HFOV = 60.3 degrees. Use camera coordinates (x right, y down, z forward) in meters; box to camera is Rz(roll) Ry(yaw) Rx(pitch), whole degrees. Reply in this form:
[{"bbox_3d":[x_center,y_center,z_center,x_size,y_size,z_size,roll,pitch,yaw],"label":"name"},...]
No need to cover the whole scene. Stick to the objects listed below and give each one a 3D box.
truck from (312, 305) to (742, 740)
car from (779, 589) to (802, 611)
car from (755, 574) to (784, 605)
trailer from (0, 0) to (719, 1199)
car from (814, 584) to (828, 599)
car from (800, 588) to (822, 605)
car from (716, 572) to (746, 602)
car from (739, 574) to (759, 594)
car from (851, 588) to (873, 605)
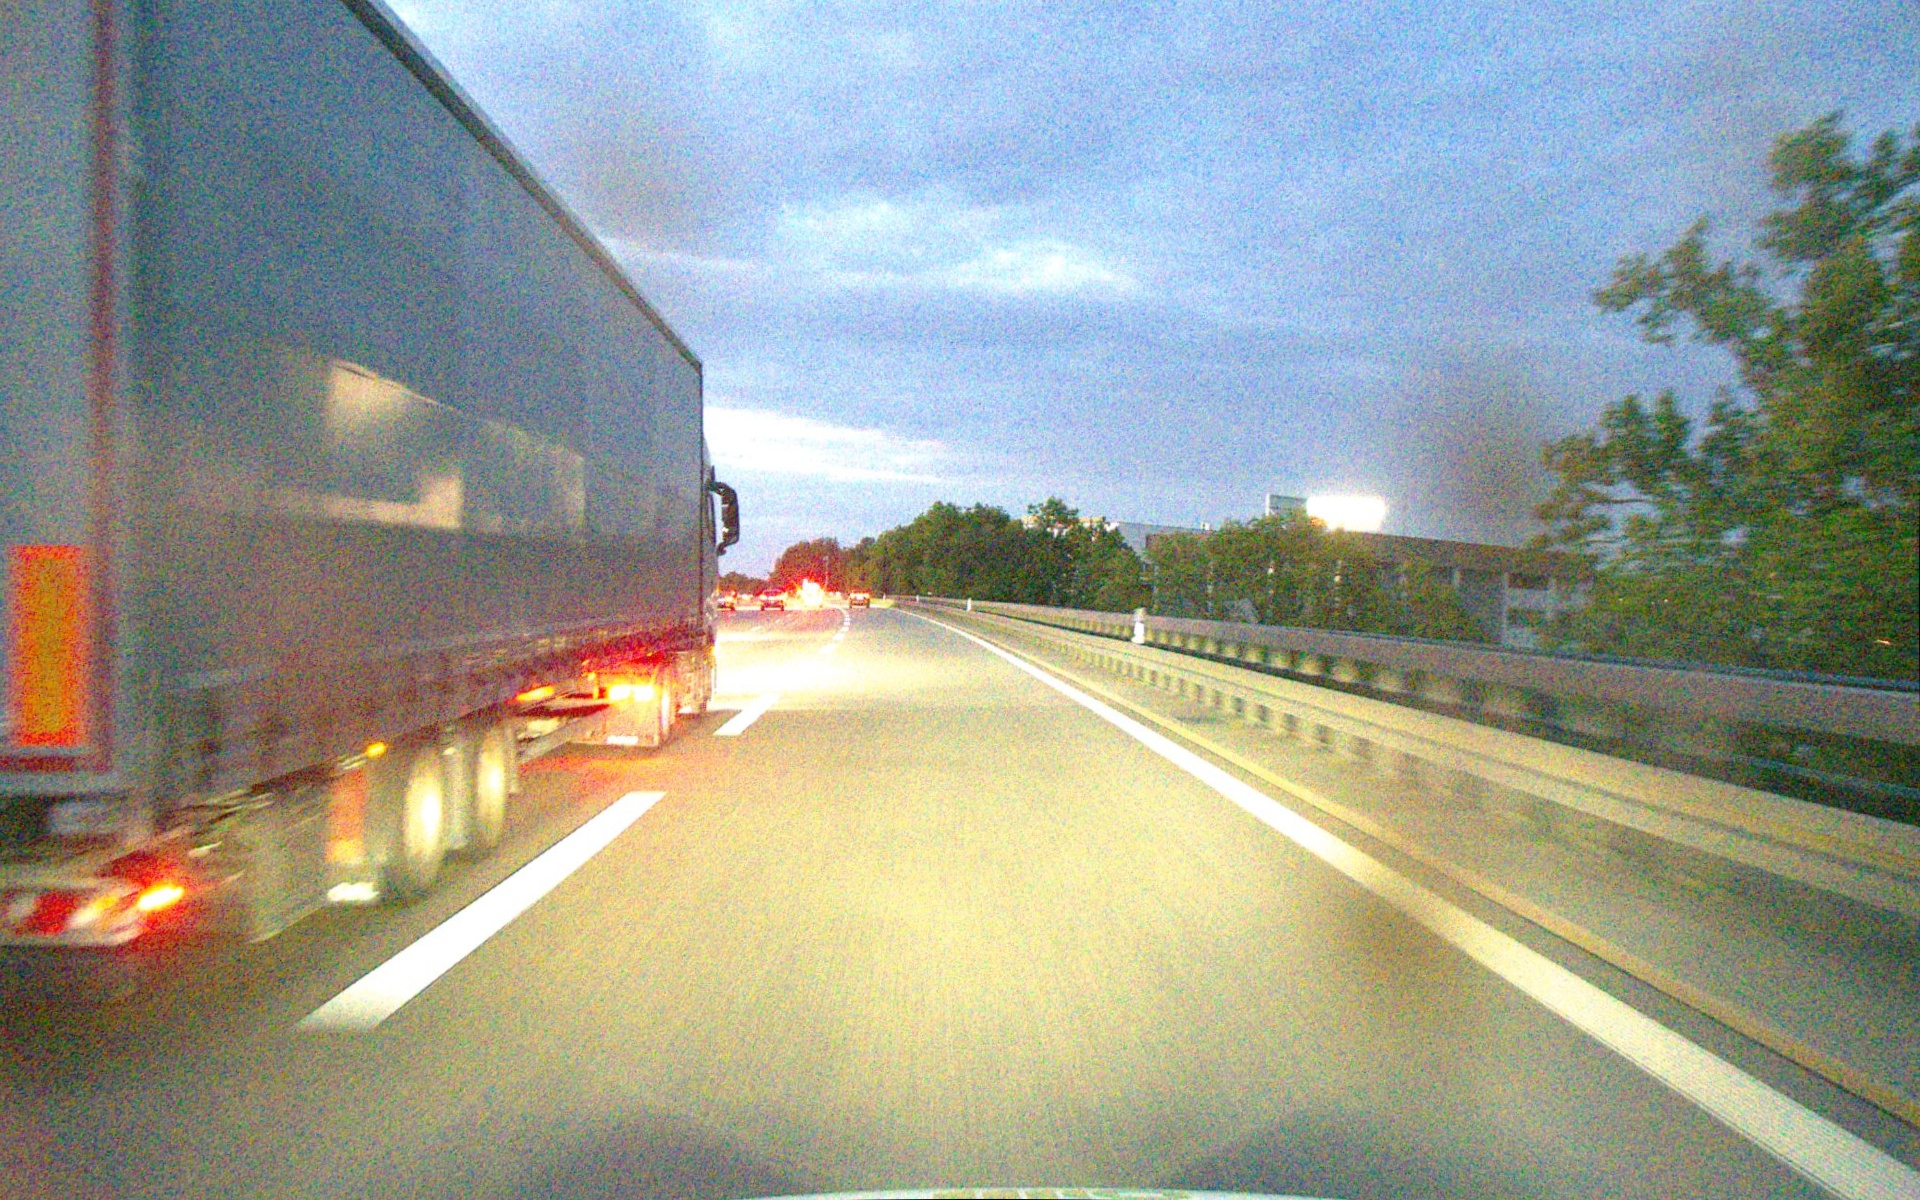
[{"bbox_3d":[-4.548,-0.775,18.956,3.479,4.162,6.149,0,0,-2],"label":"truck"},{"bbox_3d":[-17.082,0.034,166.665,1.953,2.049,3.999,1,-2,-1],"label":"car"},{"bbox_3d":[-14.698,-0.789,127.641,1.954,2.116,3.996,1,-2,-4],"label":"car"},{"bbox_3d":[-4.261,-0.678,11.420,3.479,4.188,15.058,0,1,-2],"label":"trailer"},{"bbox_3d":[-21.363,-1.269,254.113,1.954,2.049,3.996,1,-2,-4],"label":"car"},{"bbox_3d":[-13.747,-0.273,152.930,1.847,1.378,3.996,1,-2,-4],"label":"car"},{"bbox_3d":[-17.263,-0.956,124.866,1.954,2.083,3.996,1,-2,-4],"label":"car"},{"bbox_3d":[-24.028,-1.788,188.724,1.954,2.049,3.997,1,-2,-3],"label":"car"},{"bbox_3d":[-8.822,-0.325,149.038,1.954,1.378,3.996,1,-2,-4],"label":"car"}]
